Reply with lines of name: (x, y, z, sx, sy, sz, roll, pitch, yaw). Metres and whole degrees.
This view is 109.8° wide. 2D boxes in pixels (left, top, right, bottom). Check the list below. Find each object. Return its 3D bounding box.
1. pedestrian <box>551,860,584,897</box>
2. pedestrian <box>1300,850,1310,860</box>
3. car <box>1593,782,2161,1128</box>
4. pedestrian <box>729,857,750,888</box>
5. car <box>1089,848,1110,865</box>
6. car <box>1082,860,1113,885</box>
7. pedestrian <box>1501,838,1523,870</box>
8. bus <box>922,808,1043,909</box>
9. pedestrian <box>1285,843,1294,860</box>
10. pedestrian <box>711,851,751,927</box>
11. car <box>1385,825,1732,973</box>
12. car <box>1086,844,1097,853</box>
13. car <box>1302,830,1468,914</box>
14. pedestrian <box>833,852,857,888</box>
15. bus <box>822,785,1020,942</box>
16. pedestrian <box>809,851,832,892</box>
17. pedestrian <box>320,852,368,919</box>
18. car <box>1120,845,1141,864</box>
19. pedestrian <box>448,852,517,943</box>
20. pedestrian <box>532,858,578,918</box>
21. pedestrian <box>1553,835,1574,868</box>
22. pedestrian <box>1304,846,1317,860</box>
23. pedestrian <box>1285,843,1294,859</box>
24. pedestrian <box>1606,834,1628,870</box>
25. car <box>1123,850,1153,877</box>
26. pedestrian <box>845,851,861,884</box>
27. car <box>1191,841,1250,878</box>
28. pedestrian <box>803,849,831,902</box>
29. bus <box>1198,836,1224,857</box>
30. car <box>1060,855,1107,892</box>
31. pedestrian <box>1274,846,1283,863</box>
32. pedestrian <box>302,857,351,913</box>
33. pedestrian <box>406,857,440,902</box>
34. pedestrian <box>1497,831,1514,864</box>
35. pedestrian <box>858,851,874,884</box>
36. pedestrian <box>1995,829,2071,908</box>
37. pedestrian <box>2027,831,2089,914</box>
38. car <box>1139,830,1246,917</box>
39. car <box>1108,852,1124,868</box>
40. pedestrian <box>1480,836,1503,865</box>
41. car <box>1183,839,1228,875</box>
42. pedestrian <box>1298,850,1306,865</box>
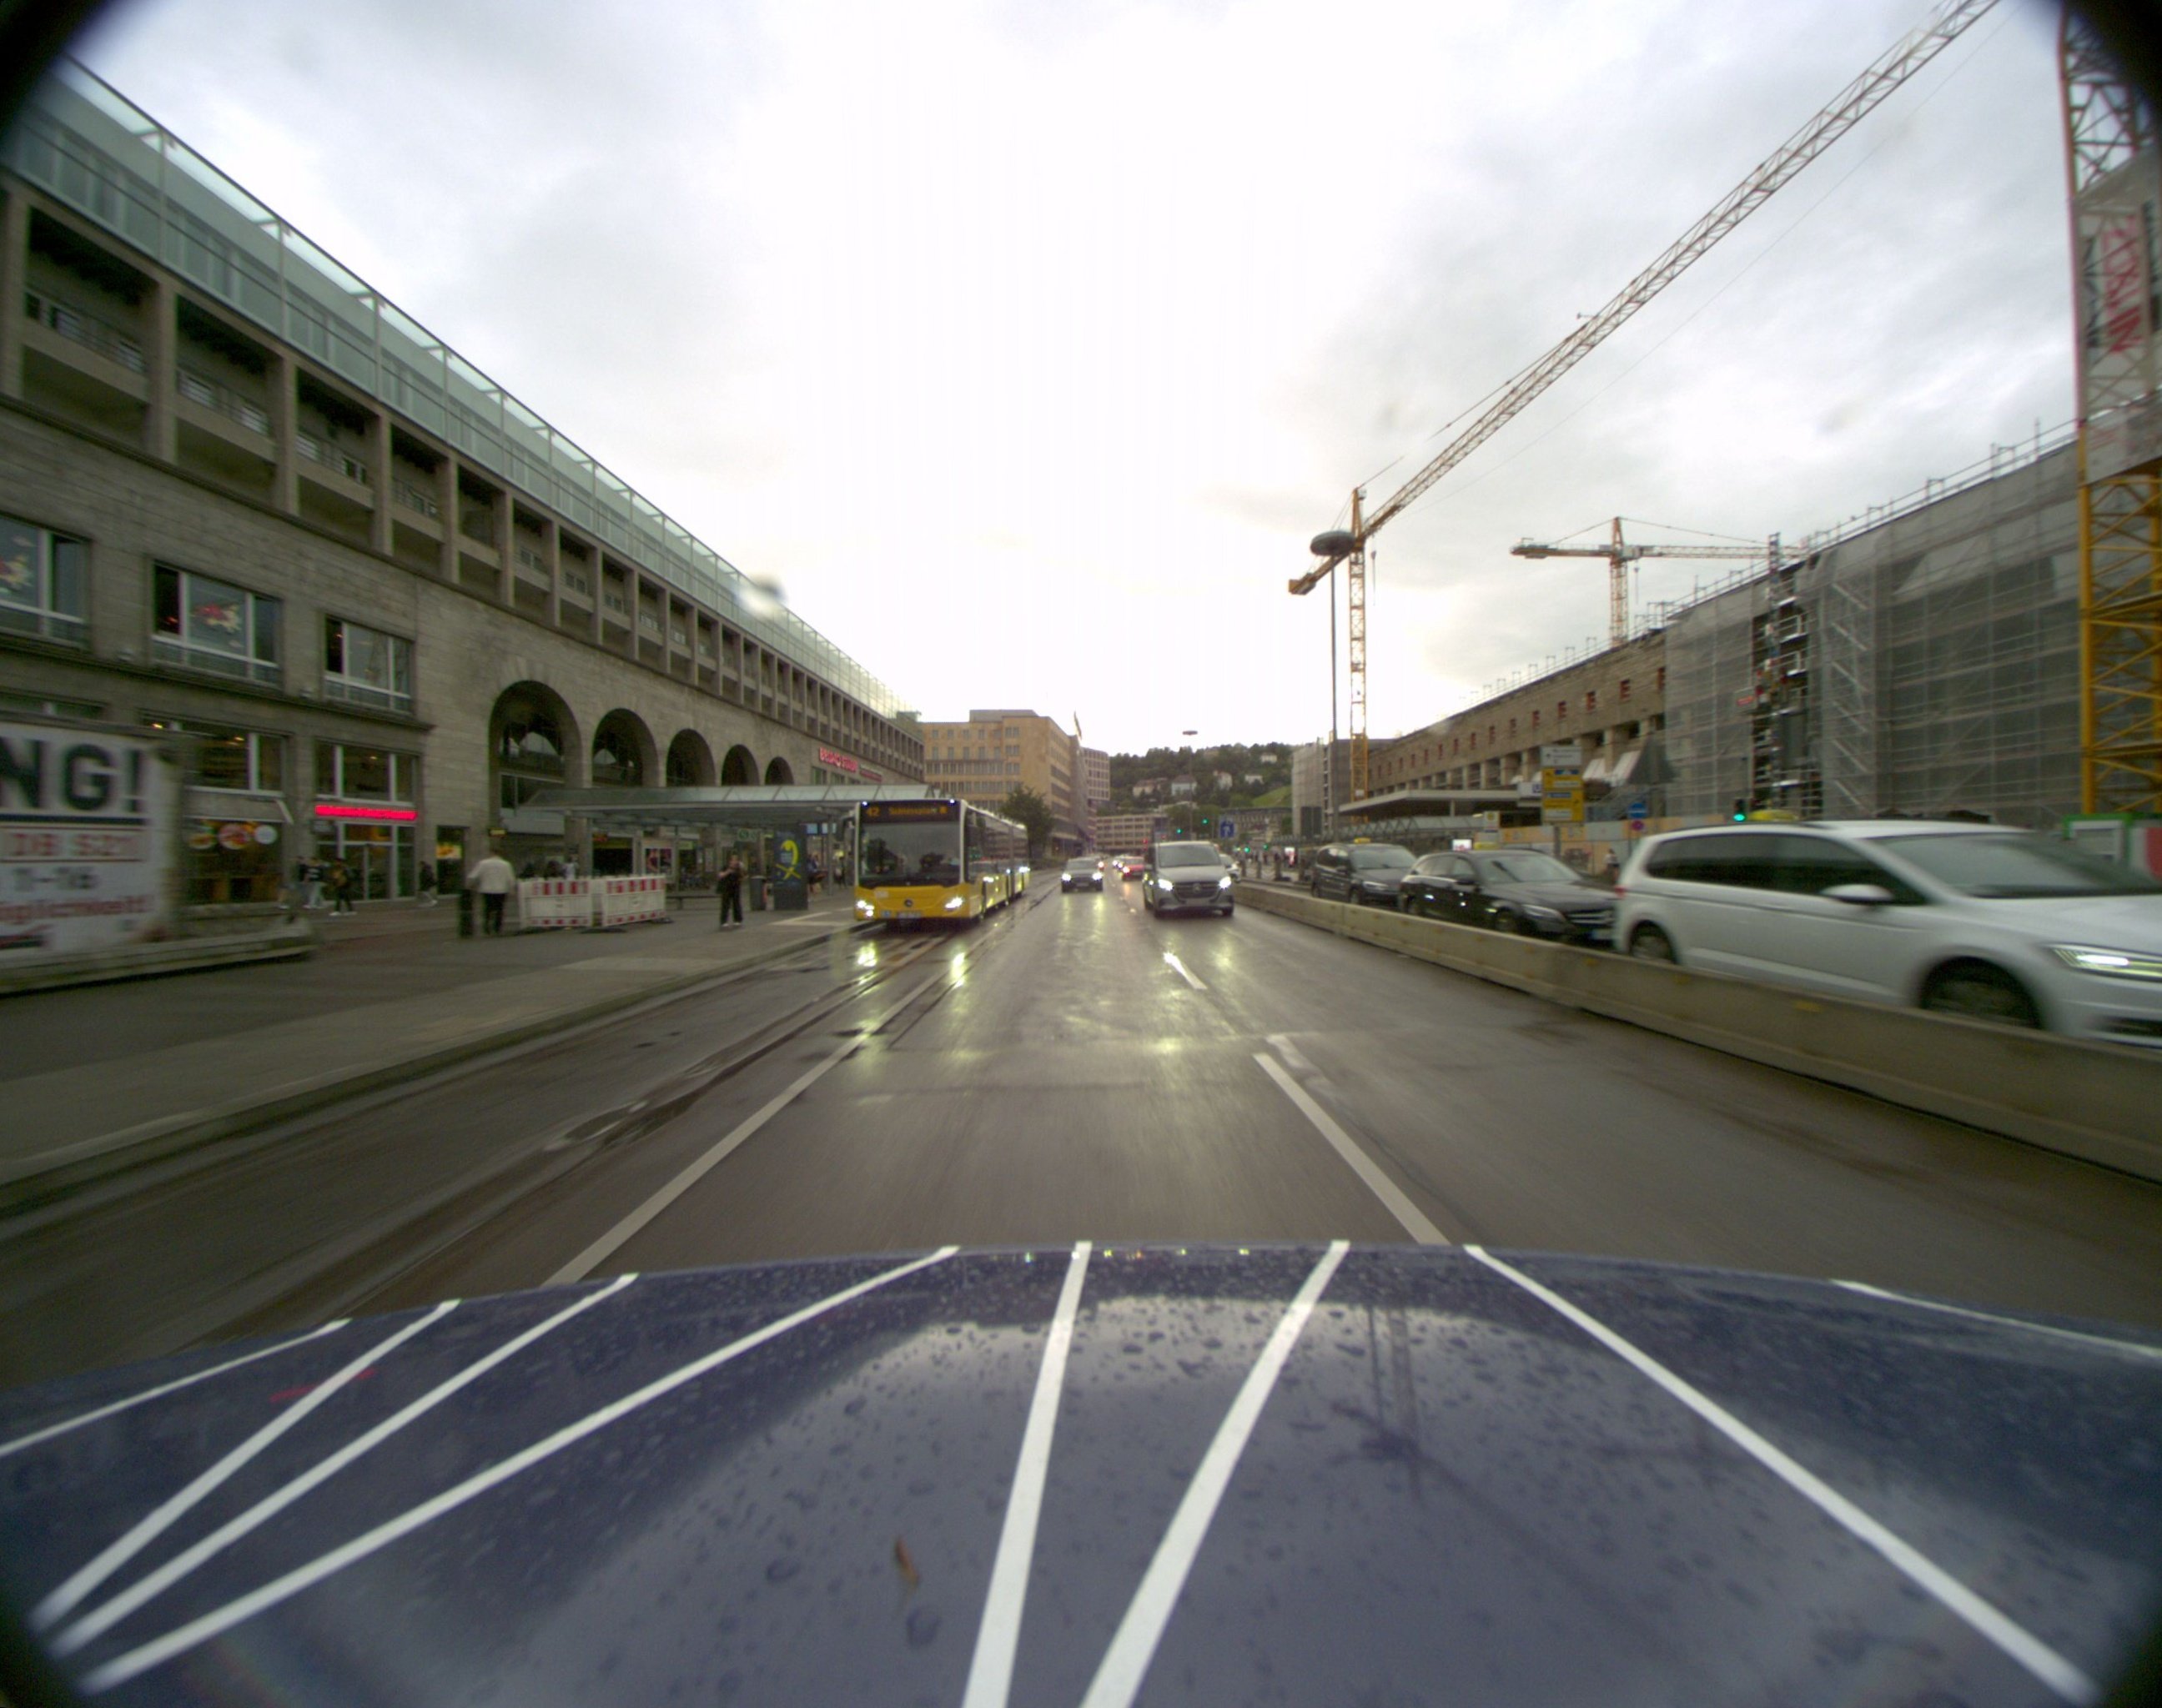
pedestrian: (-22.812, 1.078, 33.745, 0.786, 1.580, 0.994, 0, 2, 38)
pedestrian: (24.133, 0.089, 81.923, 0.846, 1.087, 0.926, -2, 1, 1)
car: (6.526, 0.478, 5.957, 1.999, 1.776, 4.453, -1, 1, 0)
pedestrian: (-18.545, 1.003, 41.250, 0.795, 1.609, 0.870, -1, 1, -9)
car: (1.873, 0.207, 76.281, 1.998, 1.549, 3.909, -1, 1, 3)
car: (1.162, 1.236, 51.477, 1.876, 1.499, 4.164, -1, 1, 3)
pedestrian: (27.060, -0.018, 47.704, 0.744, 1.928, 0.864, -4, 1, -2)
bus: (-3.500, 0.060, 29.847, 3.149, 3.229, 9.134, -2, 1, 2)
pedestrian: (22.734, -0.274, 82.876, 0.776, 1.780, 0.861, -2, 1, 9)
pedestrian: (-7.737, 0.762, 16.819, 0.595, 1.609, 0.511, -3, 2, -9)
car: (6.635, 0.503, 11.471, 2.054, 1.702, 5.054, -1, 1, 0)
car: (2.228, -1.105, 156.169, 1.998, 1.874, 4.997, -1, 1, 3)
car: (6.796, 0.336, 17.613, 1.998, 1.644, 4.641, -1, 1, 0)
pedestrian: (-11.517, 0.766, 37.108, 0.750, 1.685, 0.902, -2, 1, 5)
bus: (-3.732, 0.120, 20.643, 3.121, 3.187, 9.240, -2, 1, 1)
pedestrian: (-11.633, 0.757, 33.879, 0.790, 1.794, 0.990, -2, 1, -26)
pedestrian: (-21.827, 0.909, 22.523, 0.790, 1.918, 0.653, -2, 1, -23)
car: (4.839, 0.022, 74.758, 1.872, 1.747, 3.901, -2, 1, 2)
pedestrian: (-12.099, 0.862, 15.372, 0.733, 1.782, 0.757, -1, 1, 16)
pedestrian: (-16.080, 1.018, 23.252, 0.994, 1.782, 0.787, -2, 1, -27)
pedestrian: (27.474, -0.125, 43.290, 0.744, 1.830, 0.656, -2, 1, 5)
pedestrian: (24.124, -0.134, 79.900, 1.057, 1.424, 0.831, -2, 1, 1)
pedestrian: (23.478, -0.311, 85.531, 0.726, 1.780, 0.747, -2, 1, -4)
pedestrian: (27.566, -0.110, 39.074, 0.723, 1.830, 0.612, -2, 1, 5)
car: (3.527, 0.550, 47.745, 1.709, 1.485, 3.670, -2, 1, 3)
pedestrian: (-13.114, 0.797, 43.722, 0.596, 1.863, 0.592, -1, 1, 35)
car: (6.828, 0.232, 37.712, 1.998, 1.696, 4.832, -1, 1, 0)
pedestrian: (-9.692, 0.779, 27.904, 0.795, 1.918, 0.705, -1, 1, -9)
bus: (23.394, -1.462, 137.520, 2.916, 3.557, 19.081, 0, 1, 4)
car: (0.188, 0.865, 35.437, 1.822, 1.455, 4.700, -3, 1, 3)
pedestrian: (23.222, 0.039, 89.246, 0.761, 1.948, 0.822, -2, 1, 0)
pedestrian: (-24.947, 1.003, 25.121, 0.786, 1.782, 0.994, 0, 2, 38)
pedestrian: (-22.576, 0.856, 26.065, 0.690, 1.512, 0.589, -2, 1, -23)
pedestrian: (23.787, -0.356, 42.601, 0.745, 1.830, 0.702, -1, 1, 22)
pedestrian: (-12.288, 0.758, 43.502, 0.608, 1.849, 0.625, -2, 1, 11)
pedestrian: (22.953, 0.332, 18.330, 0.878, 1.830, 0.837, -2, 1, -12)
pedestrian: (22.143, 0.414, 17.231, 0.509, 1.830, 0.704, -2, 1, -4)
car: (2.755, 0.421, 20.046, 1.998, 1.893, 5.250, -3, 1, 0)
car: (4.357, 0.723, 94.451, 1.872, 1.715, 3.901, -2, 1, 2)
pedestrian: (27.036, -0.257, 50.047, 0.859, 1.830, 1.045, -3, 1, 2)
car: (6.982, 0.130, 42.997, 1.998, 1.851, 4.833, -1, 1, 3)
pedestrian: (24.776, 0.352, 85.225, 0.557, 1.621, 0.805, -2, 1, -6)
